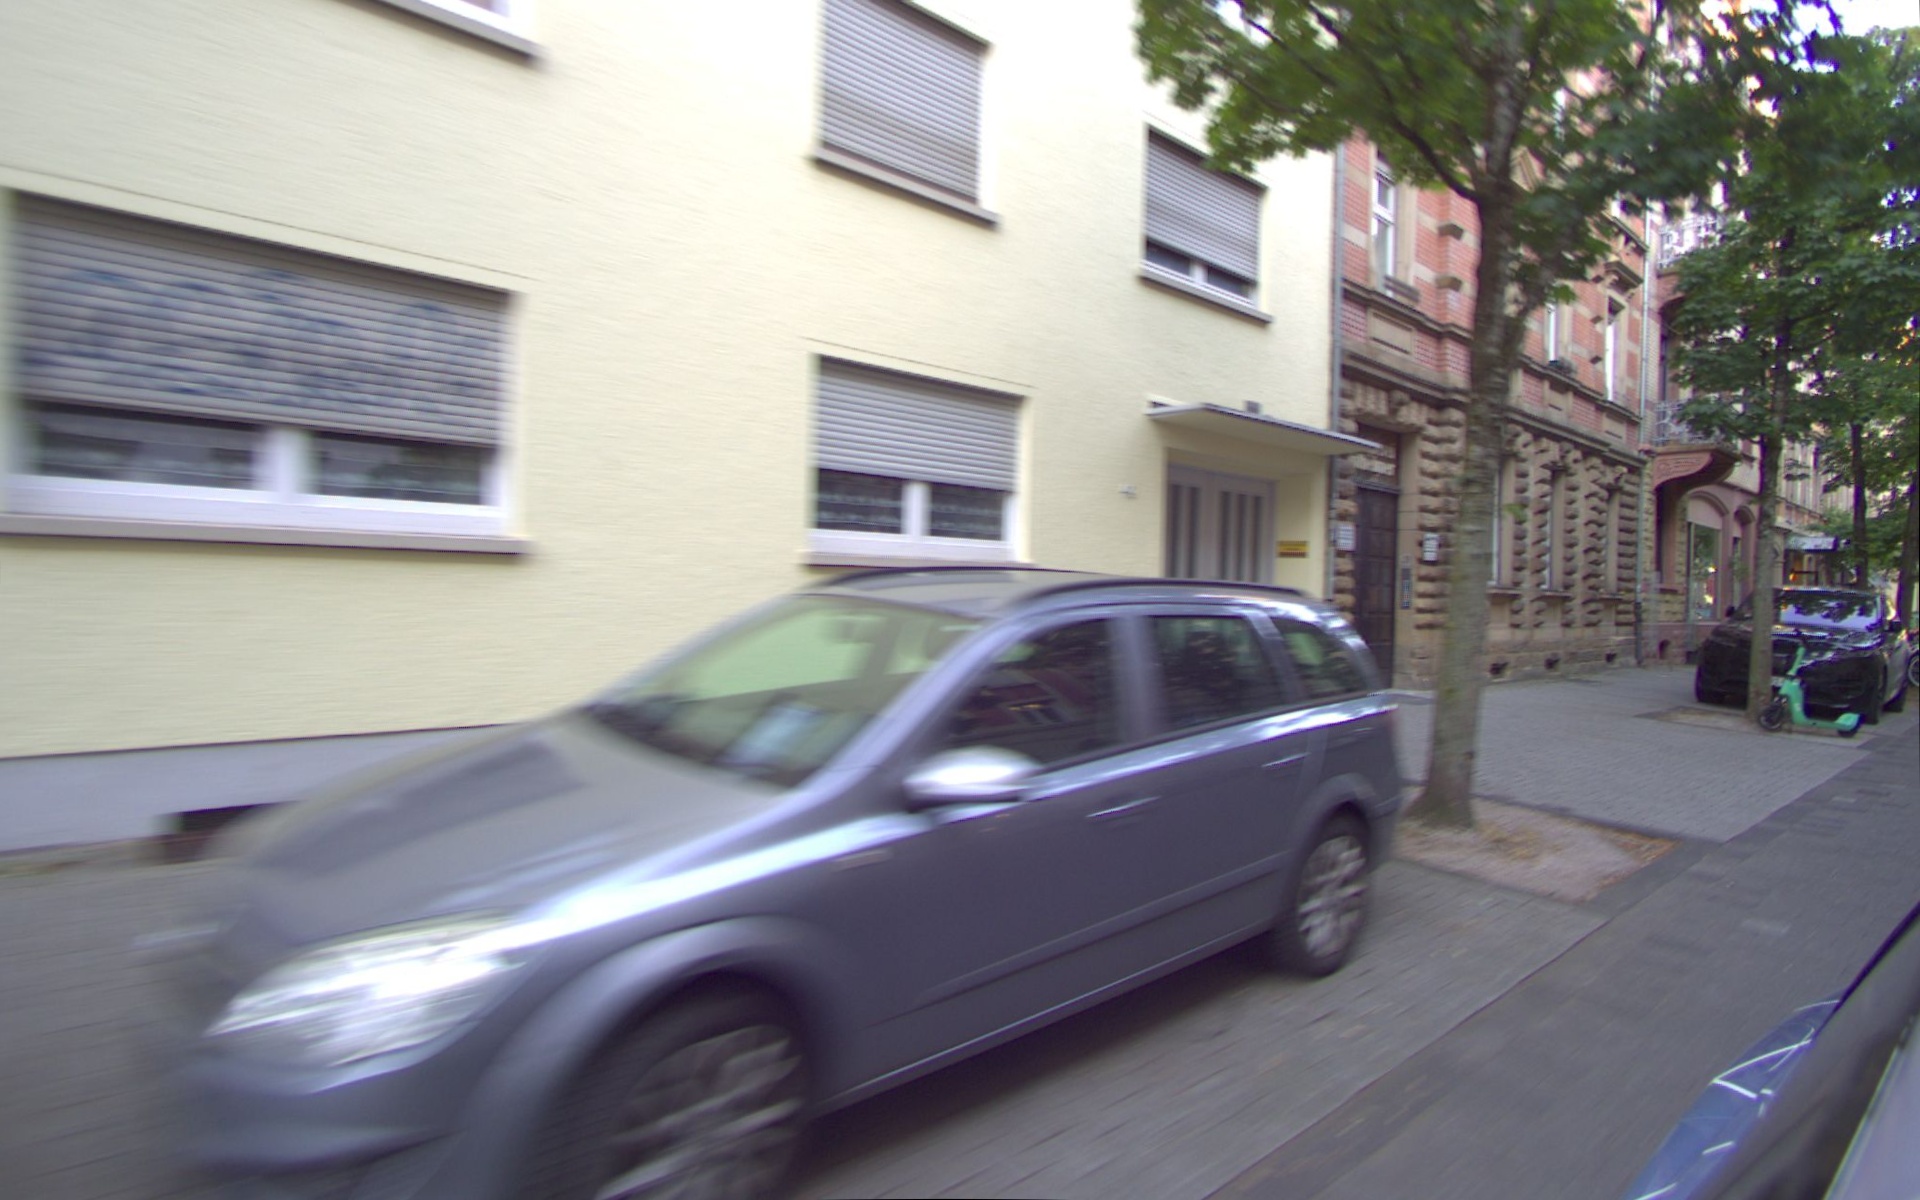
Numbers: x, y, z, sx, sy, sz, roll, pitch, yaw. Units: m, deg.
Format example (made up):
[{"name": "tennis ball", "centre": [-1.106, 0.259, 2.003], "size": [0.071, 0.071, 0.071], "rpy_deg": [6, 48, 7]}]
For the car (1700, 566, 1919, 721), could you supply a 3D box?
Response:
[{"name": "car", "centre": [12.741, 0.530, 14.858], "size": [4.727, 1.855, 2.018], "rpy_deg": [1, 3, -42]}]

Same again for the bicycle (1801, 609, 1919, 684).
[{"name": "bicycle", "centre": [18.047, 0.904, 20.217], "size": [0.788, 1.310, 1.765], "rpy_deg": [1, 3, -41]}]

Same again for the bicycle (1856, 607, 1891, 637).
[{"name": "bicycle", "centre": [34.574, 0.827, 38.313], "size": [1.916, 1.048, 0.688], "rpy_deg": [0, 3, -41]}]

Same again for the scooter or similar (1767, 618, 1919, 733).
[{"name": "scooter or similar", "centre": [10.172, 0.857, 11.679], "size": [1.094, 1.204, 0.676], "rpy_deg": [2, 2, -1]}]

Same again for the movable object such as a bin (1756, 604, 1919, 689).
[{"name": "movable object such as a bin", "centre": [16.298, 0.818, 18.768], "size": [0.756, 1.321, 2.222], "rpy_deg": [1, 4, -38]}]

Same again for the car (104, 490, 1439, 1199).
[{"name": "car", "centre": [-0.147, 0.574, 3.495], "size": [4.234, 1.481, 1.761], "rpy_deg": [1, 1, -42]}]

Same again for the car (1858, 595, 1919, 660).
[{"name": "car", "centre": [25.863, 0.784, 26.803], "size": [1.769, 1.618, 2.804], "rpy_deg": [0, 4, -40]}]
